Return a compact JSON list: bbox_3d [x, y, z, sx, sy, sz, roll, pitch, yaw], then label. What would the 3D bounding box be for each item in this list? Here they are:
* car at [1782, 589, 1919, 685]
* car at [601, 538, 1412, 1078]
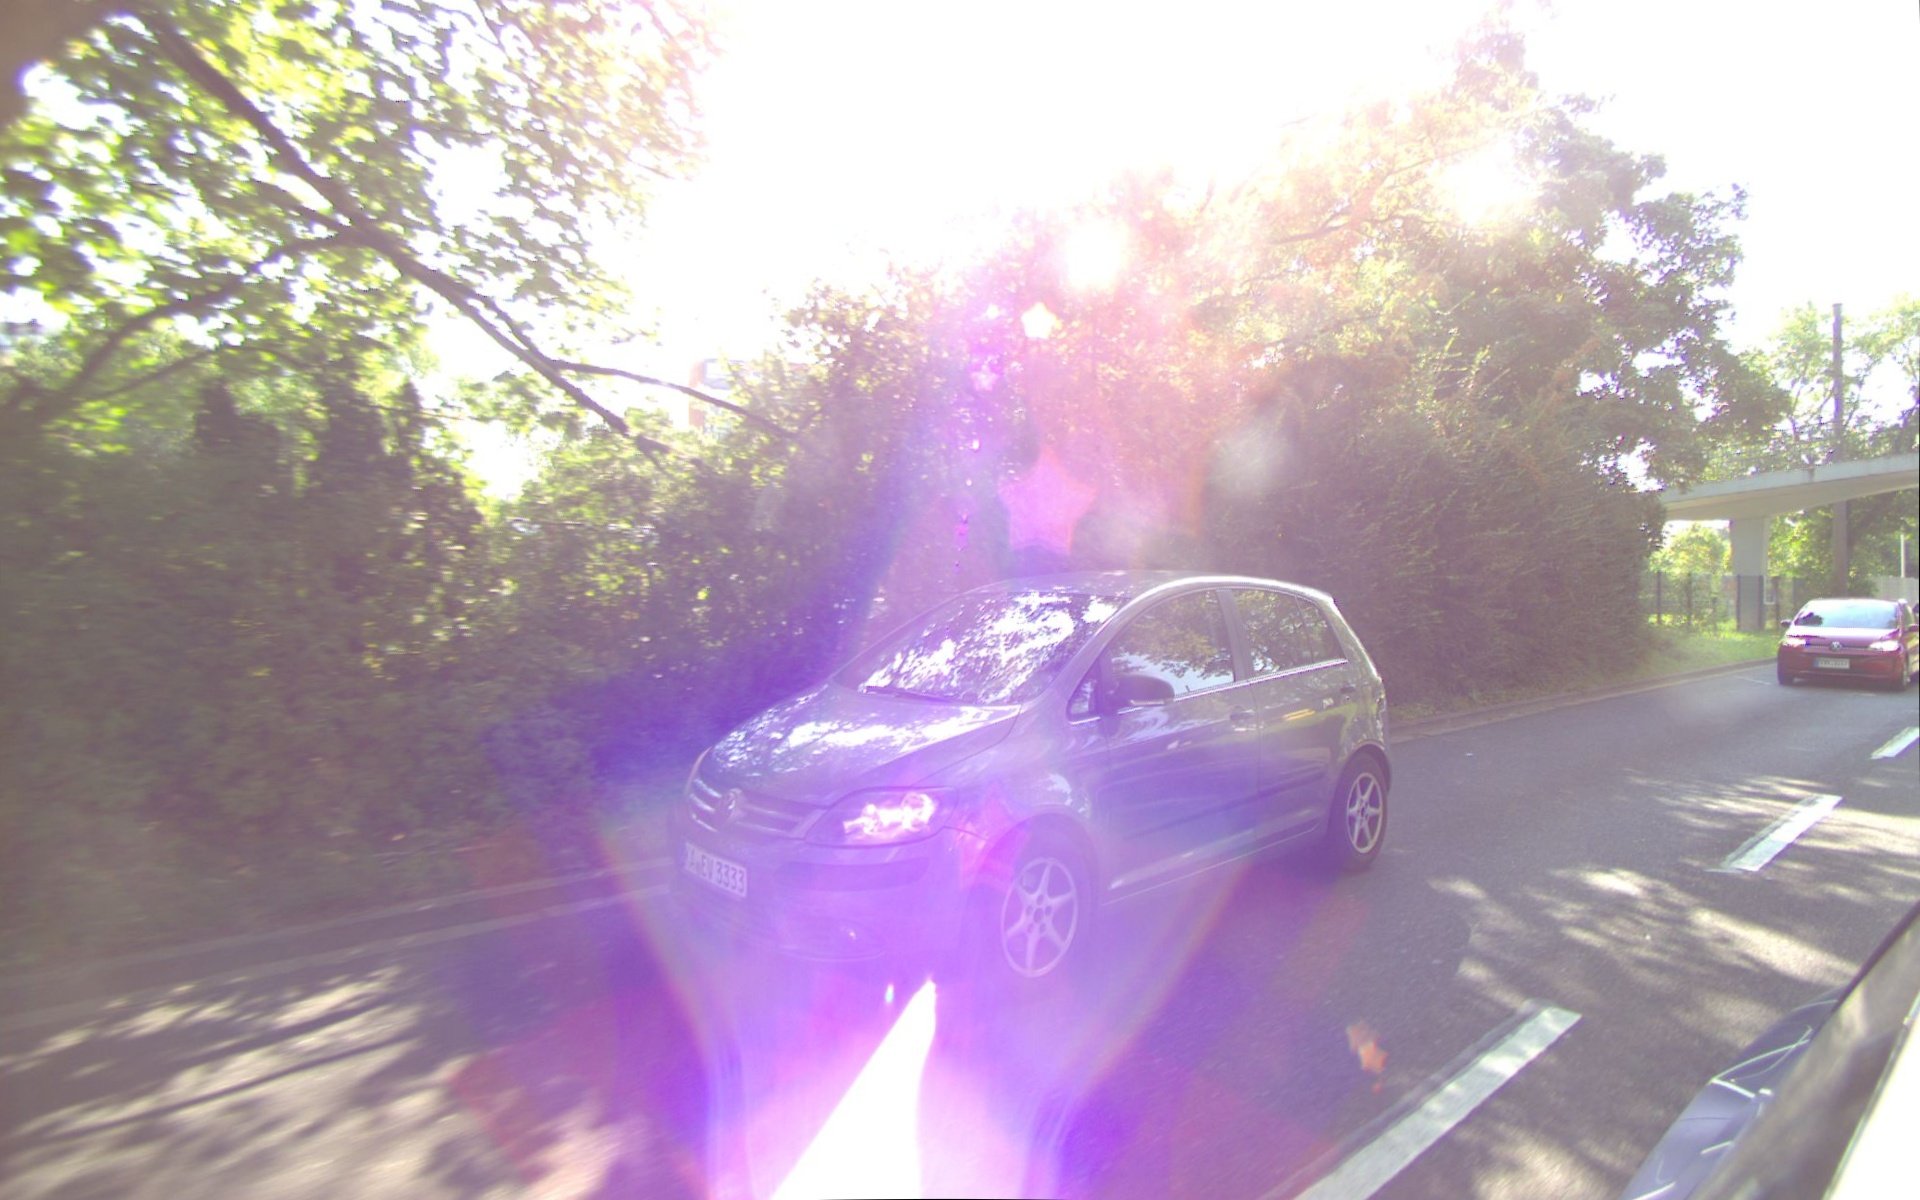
[{"bbox_3d":[15.497,0.554,17.213,3.408,1.416,1.579,-1,1,-37],"label":"car"},{"bbox_3d":[0.484,0.588,4.862,3.832,1.576,1.647,-1,0,-42],"label":"car"}]
